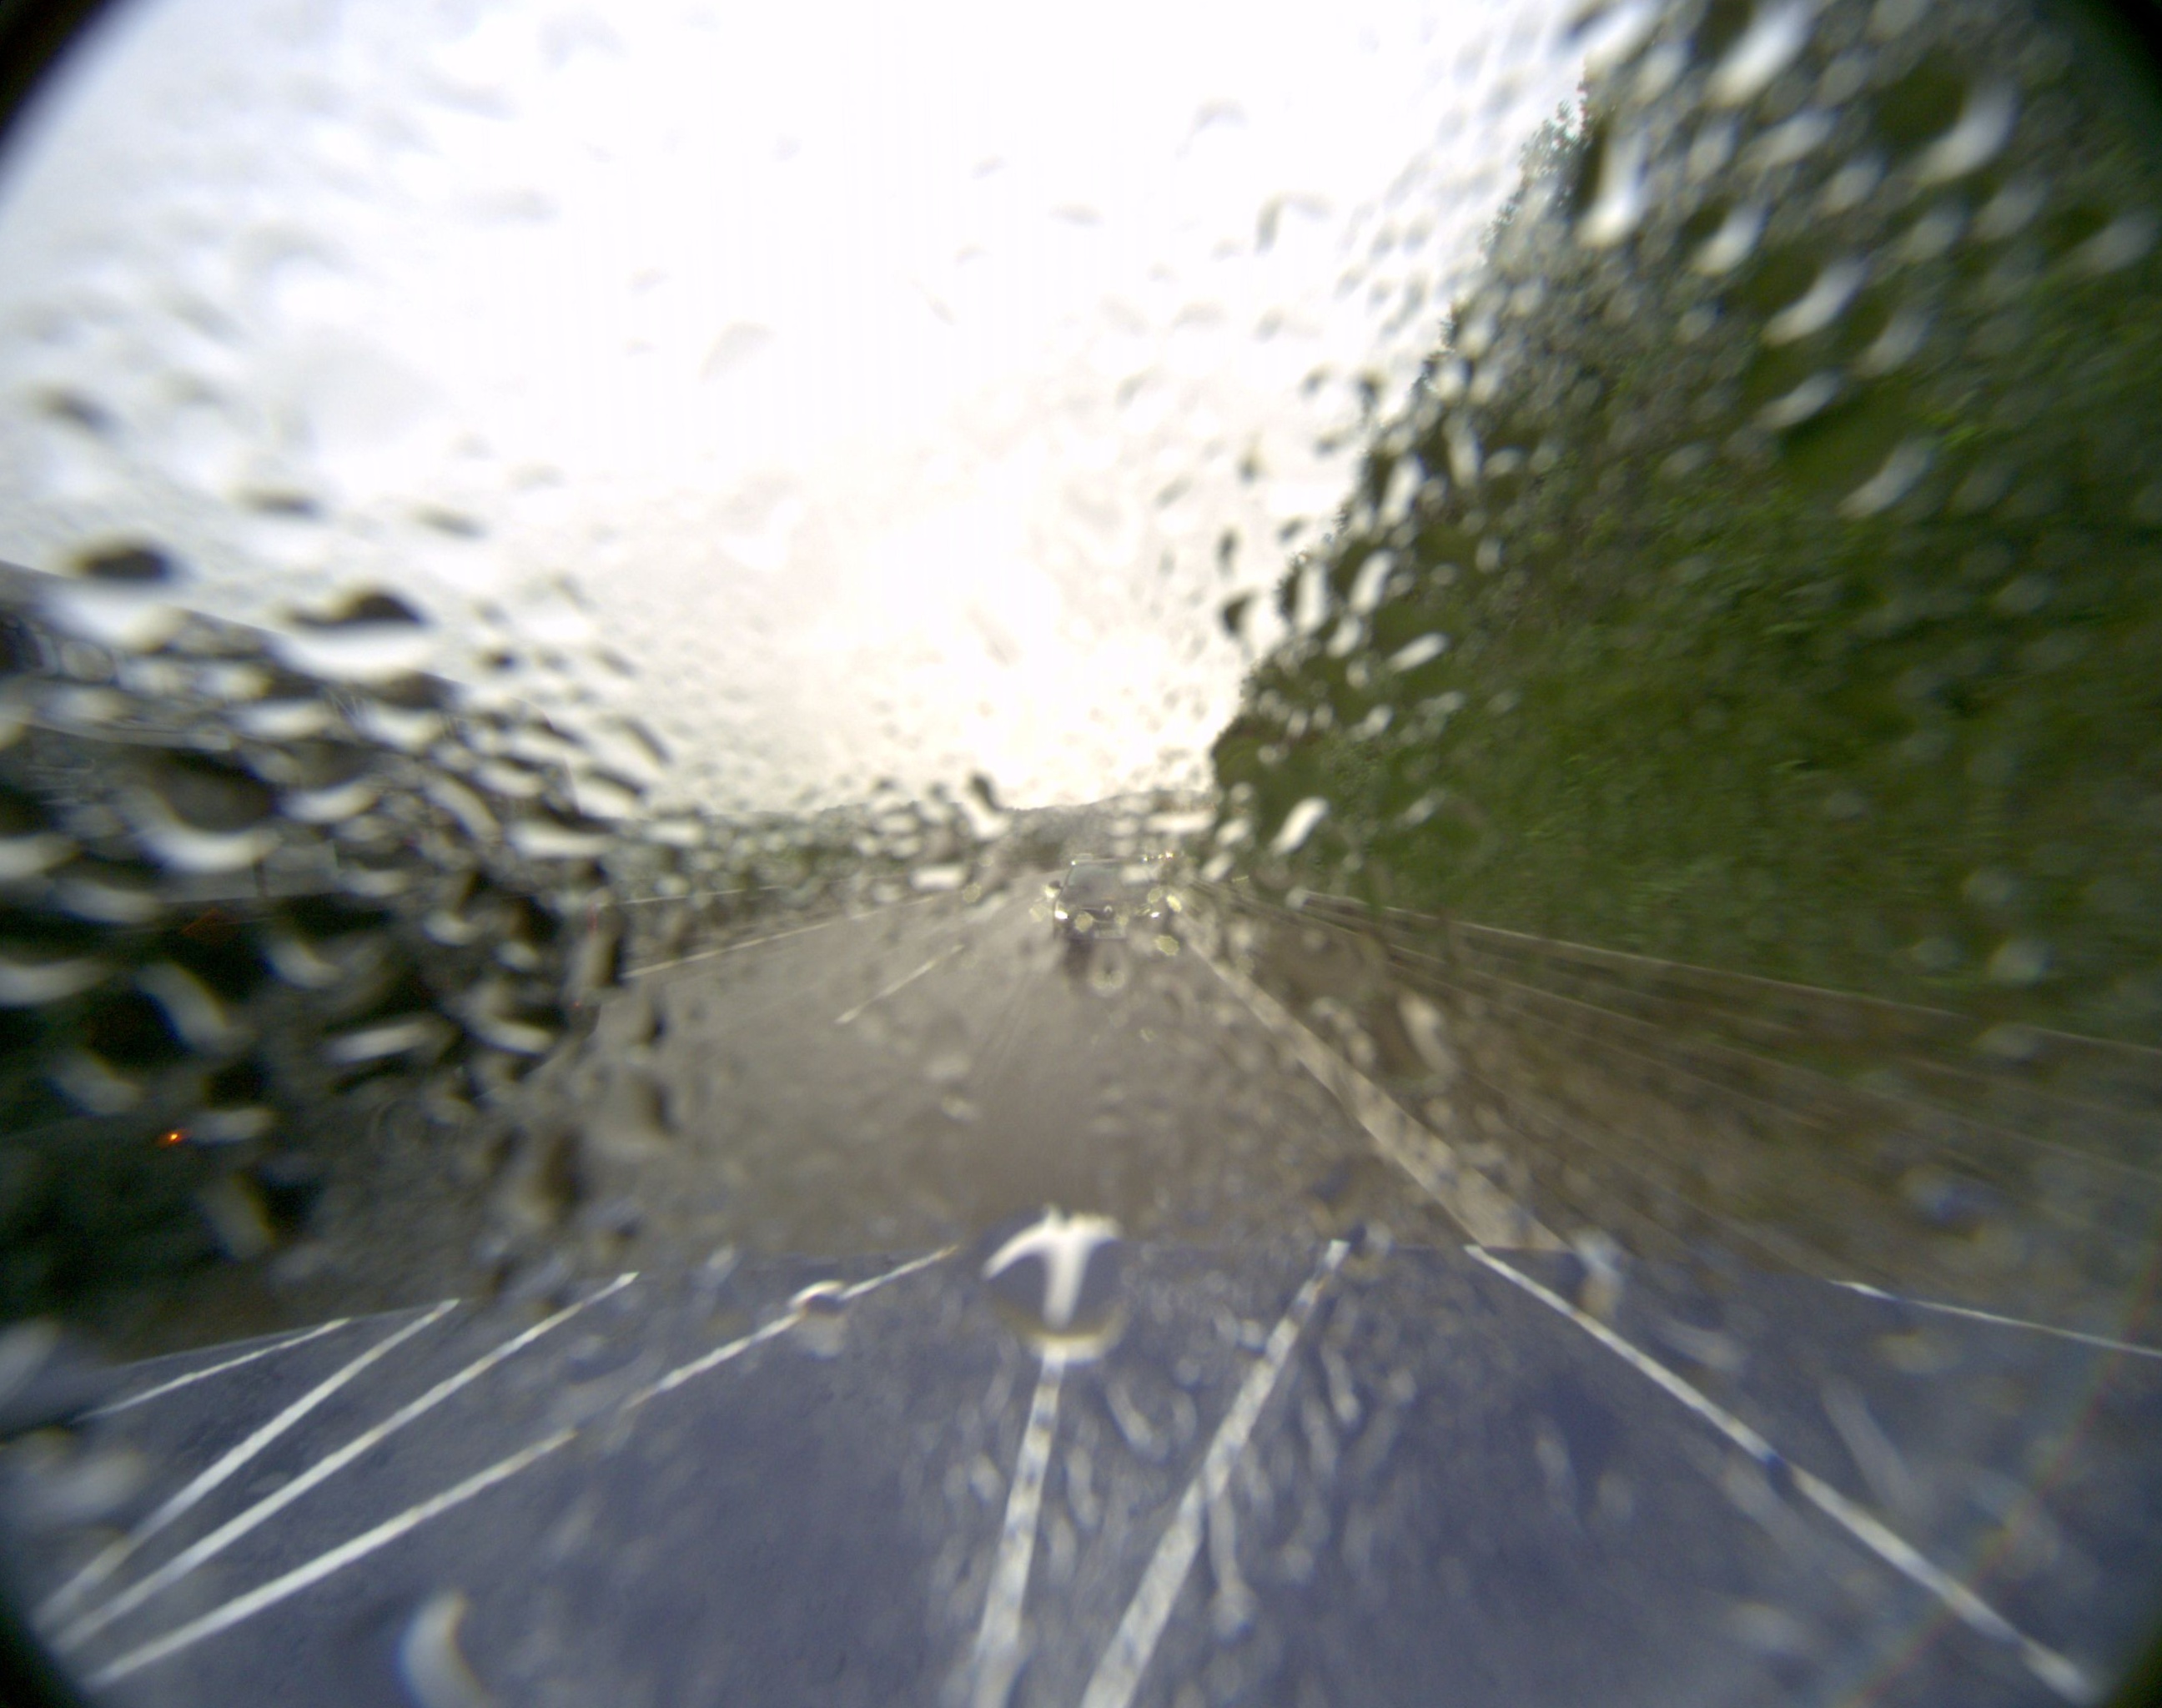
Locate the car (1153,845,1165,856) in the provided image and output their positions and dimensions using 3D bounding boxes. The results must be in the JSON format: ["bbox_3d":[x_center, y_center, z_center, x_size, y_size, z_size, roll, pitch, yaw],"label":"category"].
[{"bbox_3d":[11.298,-0.560,109.548,1.657,1.535,3.665,-2,1,6],"label":"car"}]

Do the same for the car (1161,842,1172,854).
[{"bbox_3d":[13.979,-0.980,124.076,1.591,1.895,3.754,-2,1,3],"label":"car"}]

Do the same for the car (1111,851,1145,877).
[{"bbox_3d":[2.671,0.525,42.641,1.712,1.316,3.946,-2,0,5],"label":"car"}]

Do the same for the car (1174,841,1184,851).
[{"bbox_3d":[20.464,-1.769,158.319,1.908,2.002,4.001,-2,1,7],"label":"car"}]

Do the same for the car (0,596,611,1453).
[{"bbox_3d":[-4.148,0.513,1.587,1.998,2.480,6.704,-1,0,1],"label":"car"}]

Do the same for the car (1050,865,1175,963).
[{"bbox_3d":[0.544,0.926,13.399,1.839,1.316,4.135,-2,1,2],"label":"car"}]

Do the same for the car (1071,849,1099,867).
[{"bbox_3d":[0.398,0.311,67.658,1.989,1.407,4.566,-2,0,7],"label":"car"}]

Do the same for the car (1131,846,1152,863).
[{"bbox_3d":[5.710,0.033,71.724,1.906,1.545,4.565,-2,0,5],"label":"car"}]
